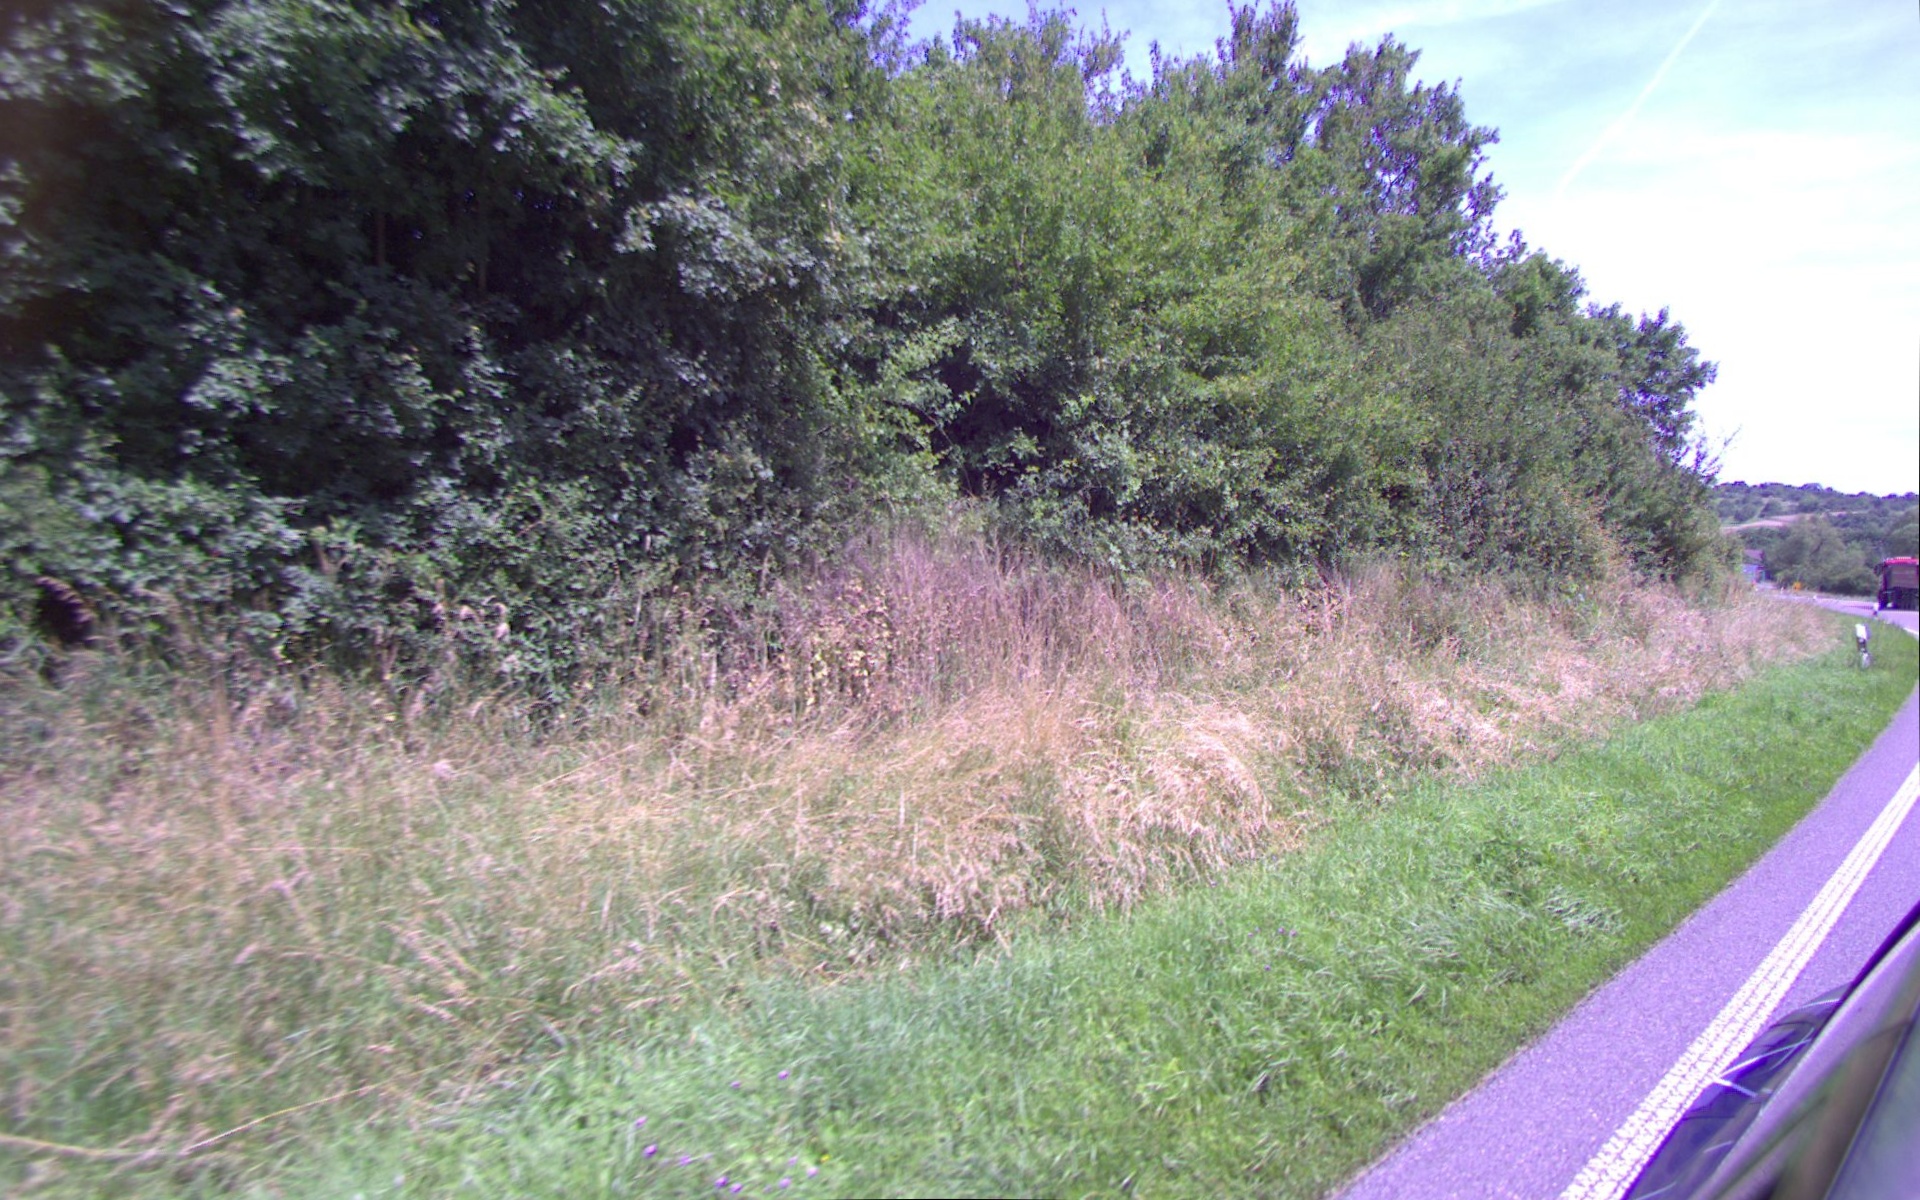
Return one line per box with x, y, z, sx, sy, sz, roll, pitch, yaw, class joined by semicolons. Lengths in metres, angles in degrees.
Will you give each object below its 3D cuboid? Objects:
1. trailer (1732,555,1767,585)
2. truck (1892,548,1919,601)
114.817;-4.296;147.271;2.558;4.158;13.507;2;2;32;trailer
65.619;-1.662;68.007;2.544;3.495;12.479;1;1;34;truck
